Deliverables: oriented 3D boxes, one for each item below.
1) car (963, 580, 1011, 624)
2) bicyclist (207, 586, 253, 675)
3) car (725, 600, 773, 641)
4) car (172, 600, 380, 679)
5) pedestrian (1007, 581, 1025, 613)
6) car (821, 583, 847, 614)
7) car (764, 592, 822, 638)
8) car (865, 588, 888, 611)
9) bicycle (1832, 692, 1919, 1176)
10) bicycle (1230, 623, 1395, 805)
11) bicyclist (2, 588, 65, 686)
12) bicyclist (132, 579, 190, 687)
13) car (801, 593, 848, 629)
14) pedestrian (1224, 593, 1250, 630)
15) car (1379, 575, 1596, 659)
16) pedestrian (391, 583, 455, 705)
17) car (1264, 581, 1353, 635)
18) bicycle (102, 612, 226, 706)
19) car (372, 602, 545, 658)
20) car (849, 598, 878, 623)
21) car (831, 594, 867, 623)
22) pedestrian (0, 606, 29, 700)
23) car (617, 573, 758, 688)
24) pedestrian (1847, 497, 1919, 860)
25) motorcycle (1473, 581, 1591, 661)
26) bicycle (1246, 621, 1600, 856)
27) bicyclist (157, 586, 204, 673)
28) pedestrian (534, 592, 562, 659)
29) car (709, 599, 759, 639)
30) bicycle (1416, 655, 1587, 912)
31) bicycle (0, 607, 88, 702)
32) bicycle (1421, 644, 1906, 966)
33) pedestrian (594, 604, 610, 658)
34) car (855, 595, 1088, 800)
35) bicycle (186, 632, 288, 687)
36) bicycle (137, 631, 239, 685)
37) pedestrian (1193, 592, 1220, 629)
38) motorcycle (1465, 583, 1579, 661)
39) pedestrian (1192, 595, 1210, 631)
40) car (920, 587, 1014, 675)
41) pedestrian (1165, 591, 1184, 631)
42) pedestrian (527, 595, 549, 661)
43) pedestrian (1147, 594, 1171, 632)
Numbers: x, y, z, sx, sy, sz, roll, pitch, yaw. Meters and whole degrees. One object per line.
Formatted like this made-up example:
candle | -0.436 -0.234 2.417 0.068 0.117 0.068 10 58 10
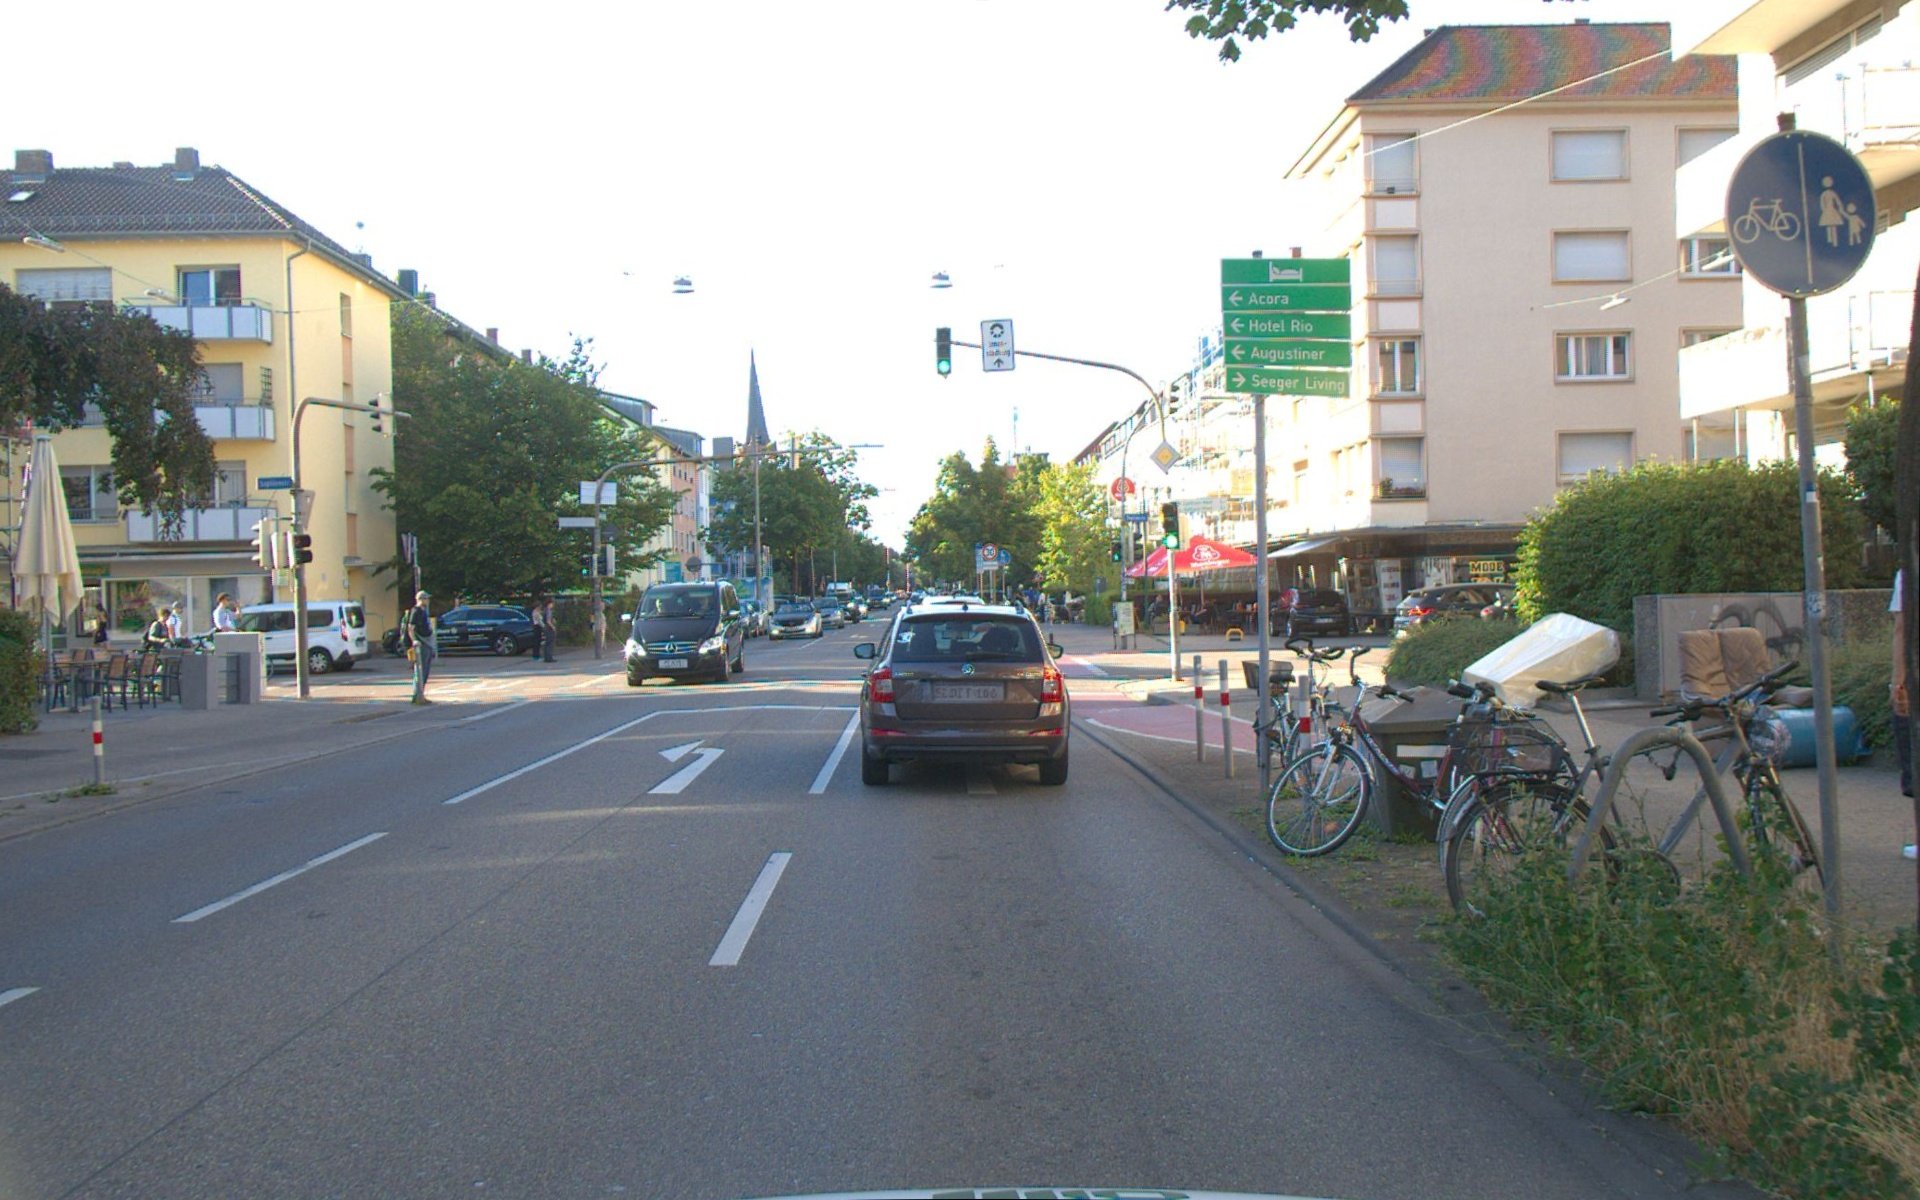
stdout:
car | 1.148 0.073 69.614 1.952 1.803 4.001 0 0 1
bicyclist | -15.680 0.648 35.533 0.725 1.855 0.652 -2 0 -10
car | -8.975 0.835 70.662 1.528 1.646 3.999 -2 0 -1
car | -17.601 0.996 42.733 4.541 1.843 1.861 -2 0 -2
pedestrian | 3.089 -0.168 91.468 0.661 1.734 0.800 -2 0 25
car | -10.743 -0.144 141.623 1.953 2.521 3.999 -2 0 -1
car | -6.217 0.545 61.971 1.793 1.607 3.999 -2 0 -1
car | -7.845 -0.083 154.811 1.953 2.049 3.999 -2 0 -1
bicycle | 3.032 0.783 4.024 1.538 1.123 0.501 -2 0 -1
bicycle | 2.516 0.773 12.035 0.492 1.167 1.956 -4 0 -7
bicyclist | -17.708 0.704 31.638 0.770 1.830 0.709 -2 0 -3
bicyclist | -15.485 0.624 32.070 0.711 2.049 0.843 -2 0 -4
car | -6.510 0.506 79.824 1.953 1.639 3.999 -2 0 -1
pedestrian | 9.209 0.379 55.002 0.714 1.219 0.855 -1 0 -1
car | 10.952 0.349 34.490 3.906 1.579 1.805 -2 0 -2
pedestrian | -9.171 0.734 28.257 0.764 2.022 0.821 -2 0 -1
car | 10.406 0.225 49.607 1.740 1.512 3.999 -2 0 -1
bicycle | -15.393 1.126 32.025 1.982 1.736 0.756 -2 0 -4
car | -14.764 0.869 48.857 4.540 1.562 1.861 -1 0 -2
car | -6.329 0.664 108.833 1.669 1.577 4.001 -2 0 -1
car | -6.226 0.478 92.923 1.751 1.598 3.999 0 0 -1
pedestrian | -17.476 0.964 30.239 0.567 1.704 0.641 -2 0 -11
car | -5.189 0.540 32.110 1.954 1.941 4.962 -4 0 -2
pedestrian | 5.018 0.373 8.315 0.648 1.779 0.773 -3 0 5
motorcycle | 10.356 0.374 29.996 1.874 1.385 0.694 -2 0 3
bicycle | 2.621 0.777 9.527 1.796 1.177 0.683 -4 0 5
bicyclist | -17.008 0.639 36.083 0.725 1.855 0.652 -2 0 -10
pedestrian | -11.444 0.693 45.951 0.603 1.828 0.504 -2 0 -1
car | -8.858 0.722 65.062 1.492 1.482 3.584 -2 0 -1
bicycle | 2.701 0.842 8.159 0.606 1.069 1.573 -1 0 25
bicycle | -17.847 1.040 31.633 1.881 1.736 0.756 -2 0 -4
bicycle | 2.779 0.804 6.645 1.651 1.126 0.517 -4 0 5
pedestrian | -10.220 0.887 47.211 0.294 1.530 0.640 -2 0 -1
car | 0.021 0.722 14.546 1.737 1.515 4.309 0 0 -2
bicycle | -15.528 1.275 35.579 1.866 1.090 0.717 -2 0 -11
bicycle | -16.833 1.262 36.113 1.866 1.090 0.717 -2 0 -11
pedestrian | 8.143 0.340 54.708 0.714 1.219 0.855 -1 0 -1
motorcycle | 10.483 0.403 30.891 1.874 1.385 0.694 -2 0 3
pedestrian | 8.122 0.444 55.713 0.495 1.197 0.428 -2 0 -2
car | 0.113 0.563 32.198 1.701 1.598 3.999 0 0 -1
pedestrian | 7.190 0.368 55.466 0.489 1.325 0.506 -2 0 -4
pedestrian | -11.822 0.774 46.317 0.440 1.828 0.504 -2 0 -1
pedestrian | 6.557 0.435 54.560 0.664 1.219 0.855 -1 0 -1
